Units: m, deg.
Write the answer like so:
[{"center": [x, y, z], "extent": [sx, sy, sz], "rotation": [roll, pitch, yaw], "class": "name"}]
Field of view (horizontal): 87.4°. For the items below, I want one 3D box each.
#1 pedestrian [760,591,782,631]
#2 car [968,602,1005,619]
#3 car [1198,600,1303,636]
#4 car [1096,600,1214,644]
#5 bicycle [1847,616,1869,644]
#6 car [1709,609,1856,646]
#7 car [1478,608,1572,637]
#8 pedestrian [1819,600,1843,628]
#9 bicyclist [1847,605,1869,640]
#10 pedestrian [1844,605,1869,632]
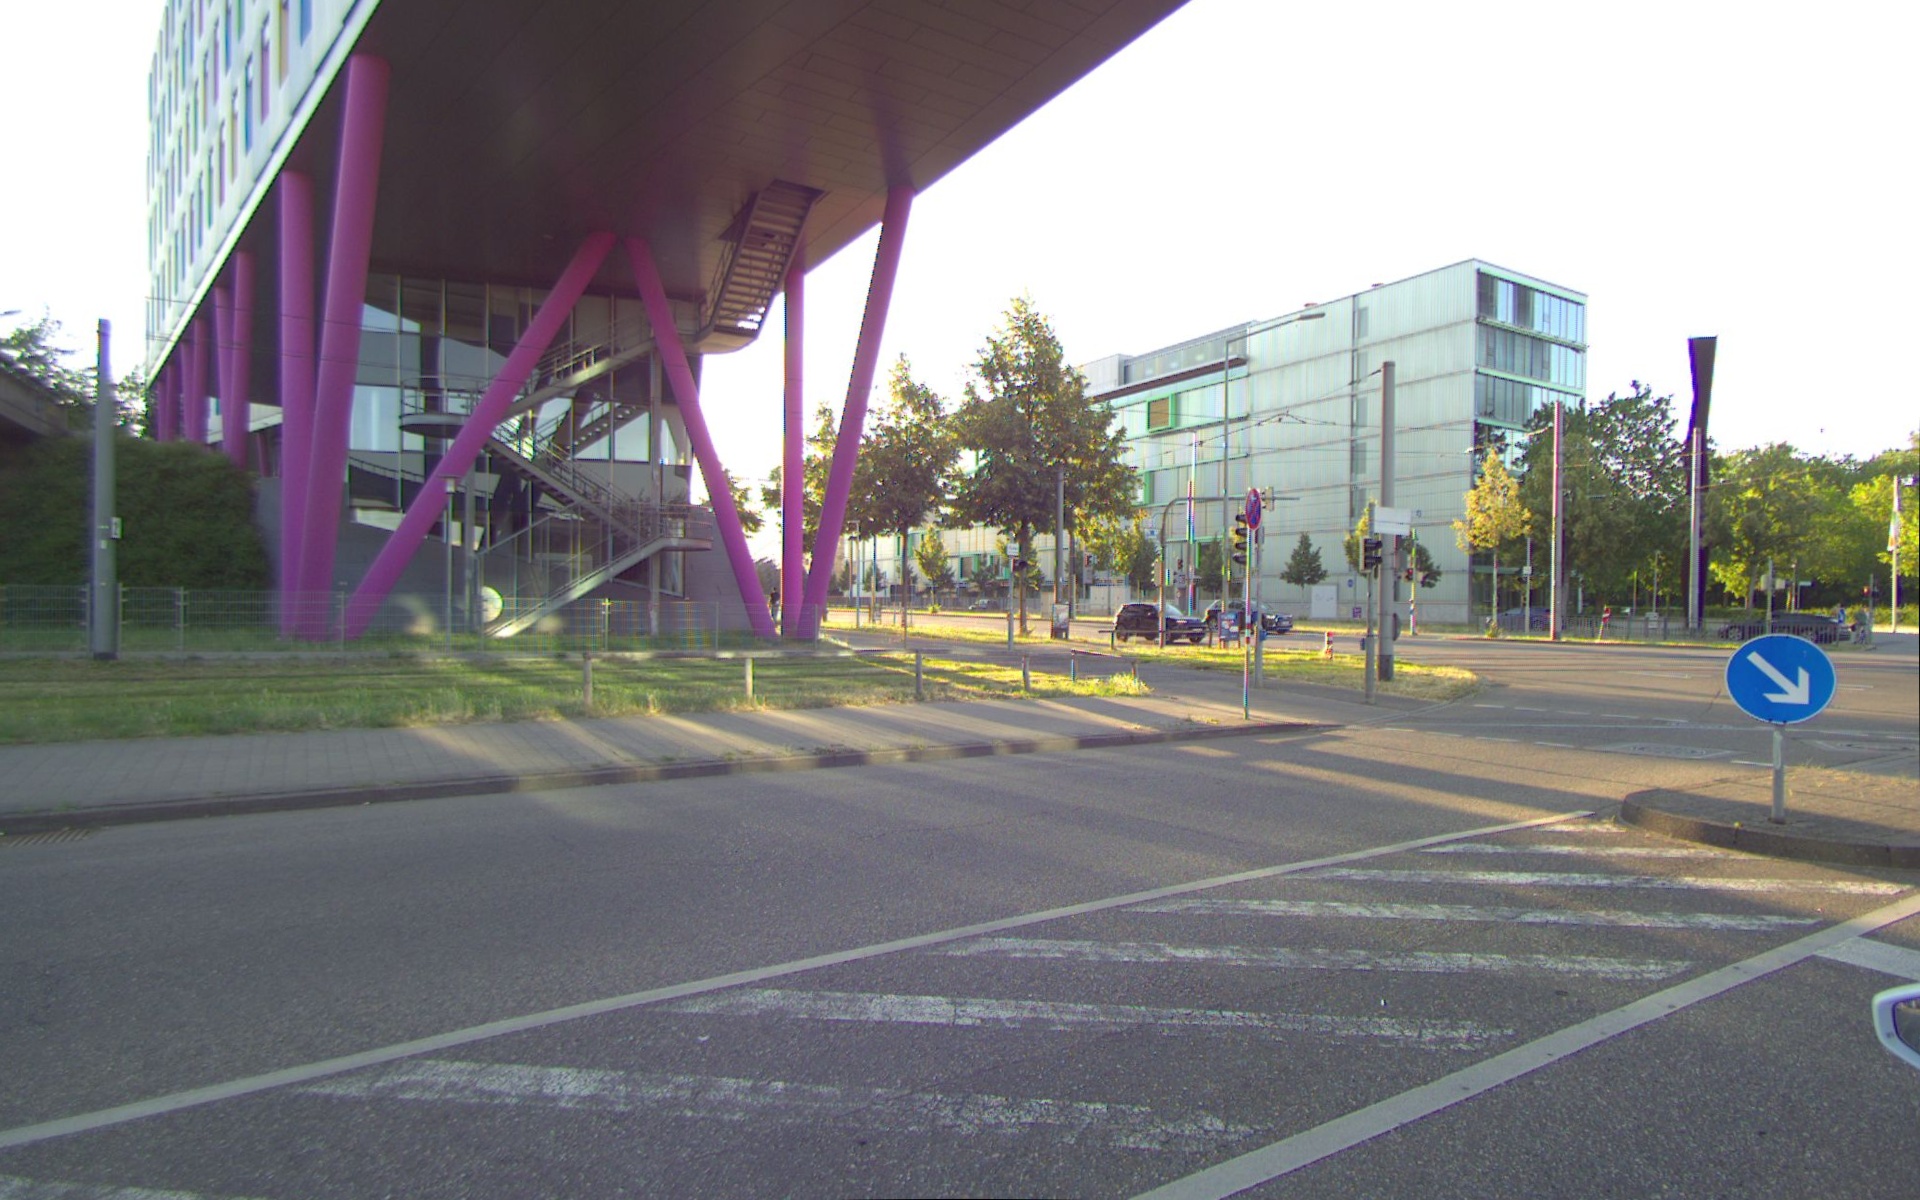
[{"center": [-8.286, 0.482, 44.043], "extent": [0.917, 1.747, 0.881], "rotation": [0, -2, -13], "class": "pedestrian"}, {"center": [2.514, 1.005, 95.905], "extent": [1.973, 1.506, 3.974], "rotation": [1, 0, -25], "class": "car"}, {"center": [13.289, 0.798, 46.201], "extent": [1.968, 1.577, 4.448], "rotation": [1, 0, -34], "class": "car"}, {"center": [7.557, 0.831, 39.309], "extent": [1.979, 1.595, 4.406], "rotation": [1, 0, -34], "class": "car"}, {"center": [45.207, 1.489, 50.570], "extent": [0.721, 1.359, 2.677], "rotation": [1, 0, 40], "class": "bicycle"}, {"center": [39.350, 1.292, 48.192], "extent": [1.977, 1.572, 5.075], "rotation": [2, -1, -30], "class": "car"}, {"center": [33.030, 1.284, 58.828], "extent": [1.975, 1.572, 4.454], "rotation": [2, -1, -28], "class": "car"}, {"center": [56.658, 0.910, 65.347], "extent": [0.814, 1.767, 0.862], "rotation": [1, 0, -4], "class": "pedestrian"}, {"center": [45.093, 1.127, 50.426], "extent": [0.741, 1.732, 0.916], "rotation": [1, 0, 38], "class": "bicyclist"}, {"center": [58.164, 1.187, 65.188], "extent": [0.814, 1.767, 0.863], "rotation": [1, 0, 2], "class": "pedestrian"}]
